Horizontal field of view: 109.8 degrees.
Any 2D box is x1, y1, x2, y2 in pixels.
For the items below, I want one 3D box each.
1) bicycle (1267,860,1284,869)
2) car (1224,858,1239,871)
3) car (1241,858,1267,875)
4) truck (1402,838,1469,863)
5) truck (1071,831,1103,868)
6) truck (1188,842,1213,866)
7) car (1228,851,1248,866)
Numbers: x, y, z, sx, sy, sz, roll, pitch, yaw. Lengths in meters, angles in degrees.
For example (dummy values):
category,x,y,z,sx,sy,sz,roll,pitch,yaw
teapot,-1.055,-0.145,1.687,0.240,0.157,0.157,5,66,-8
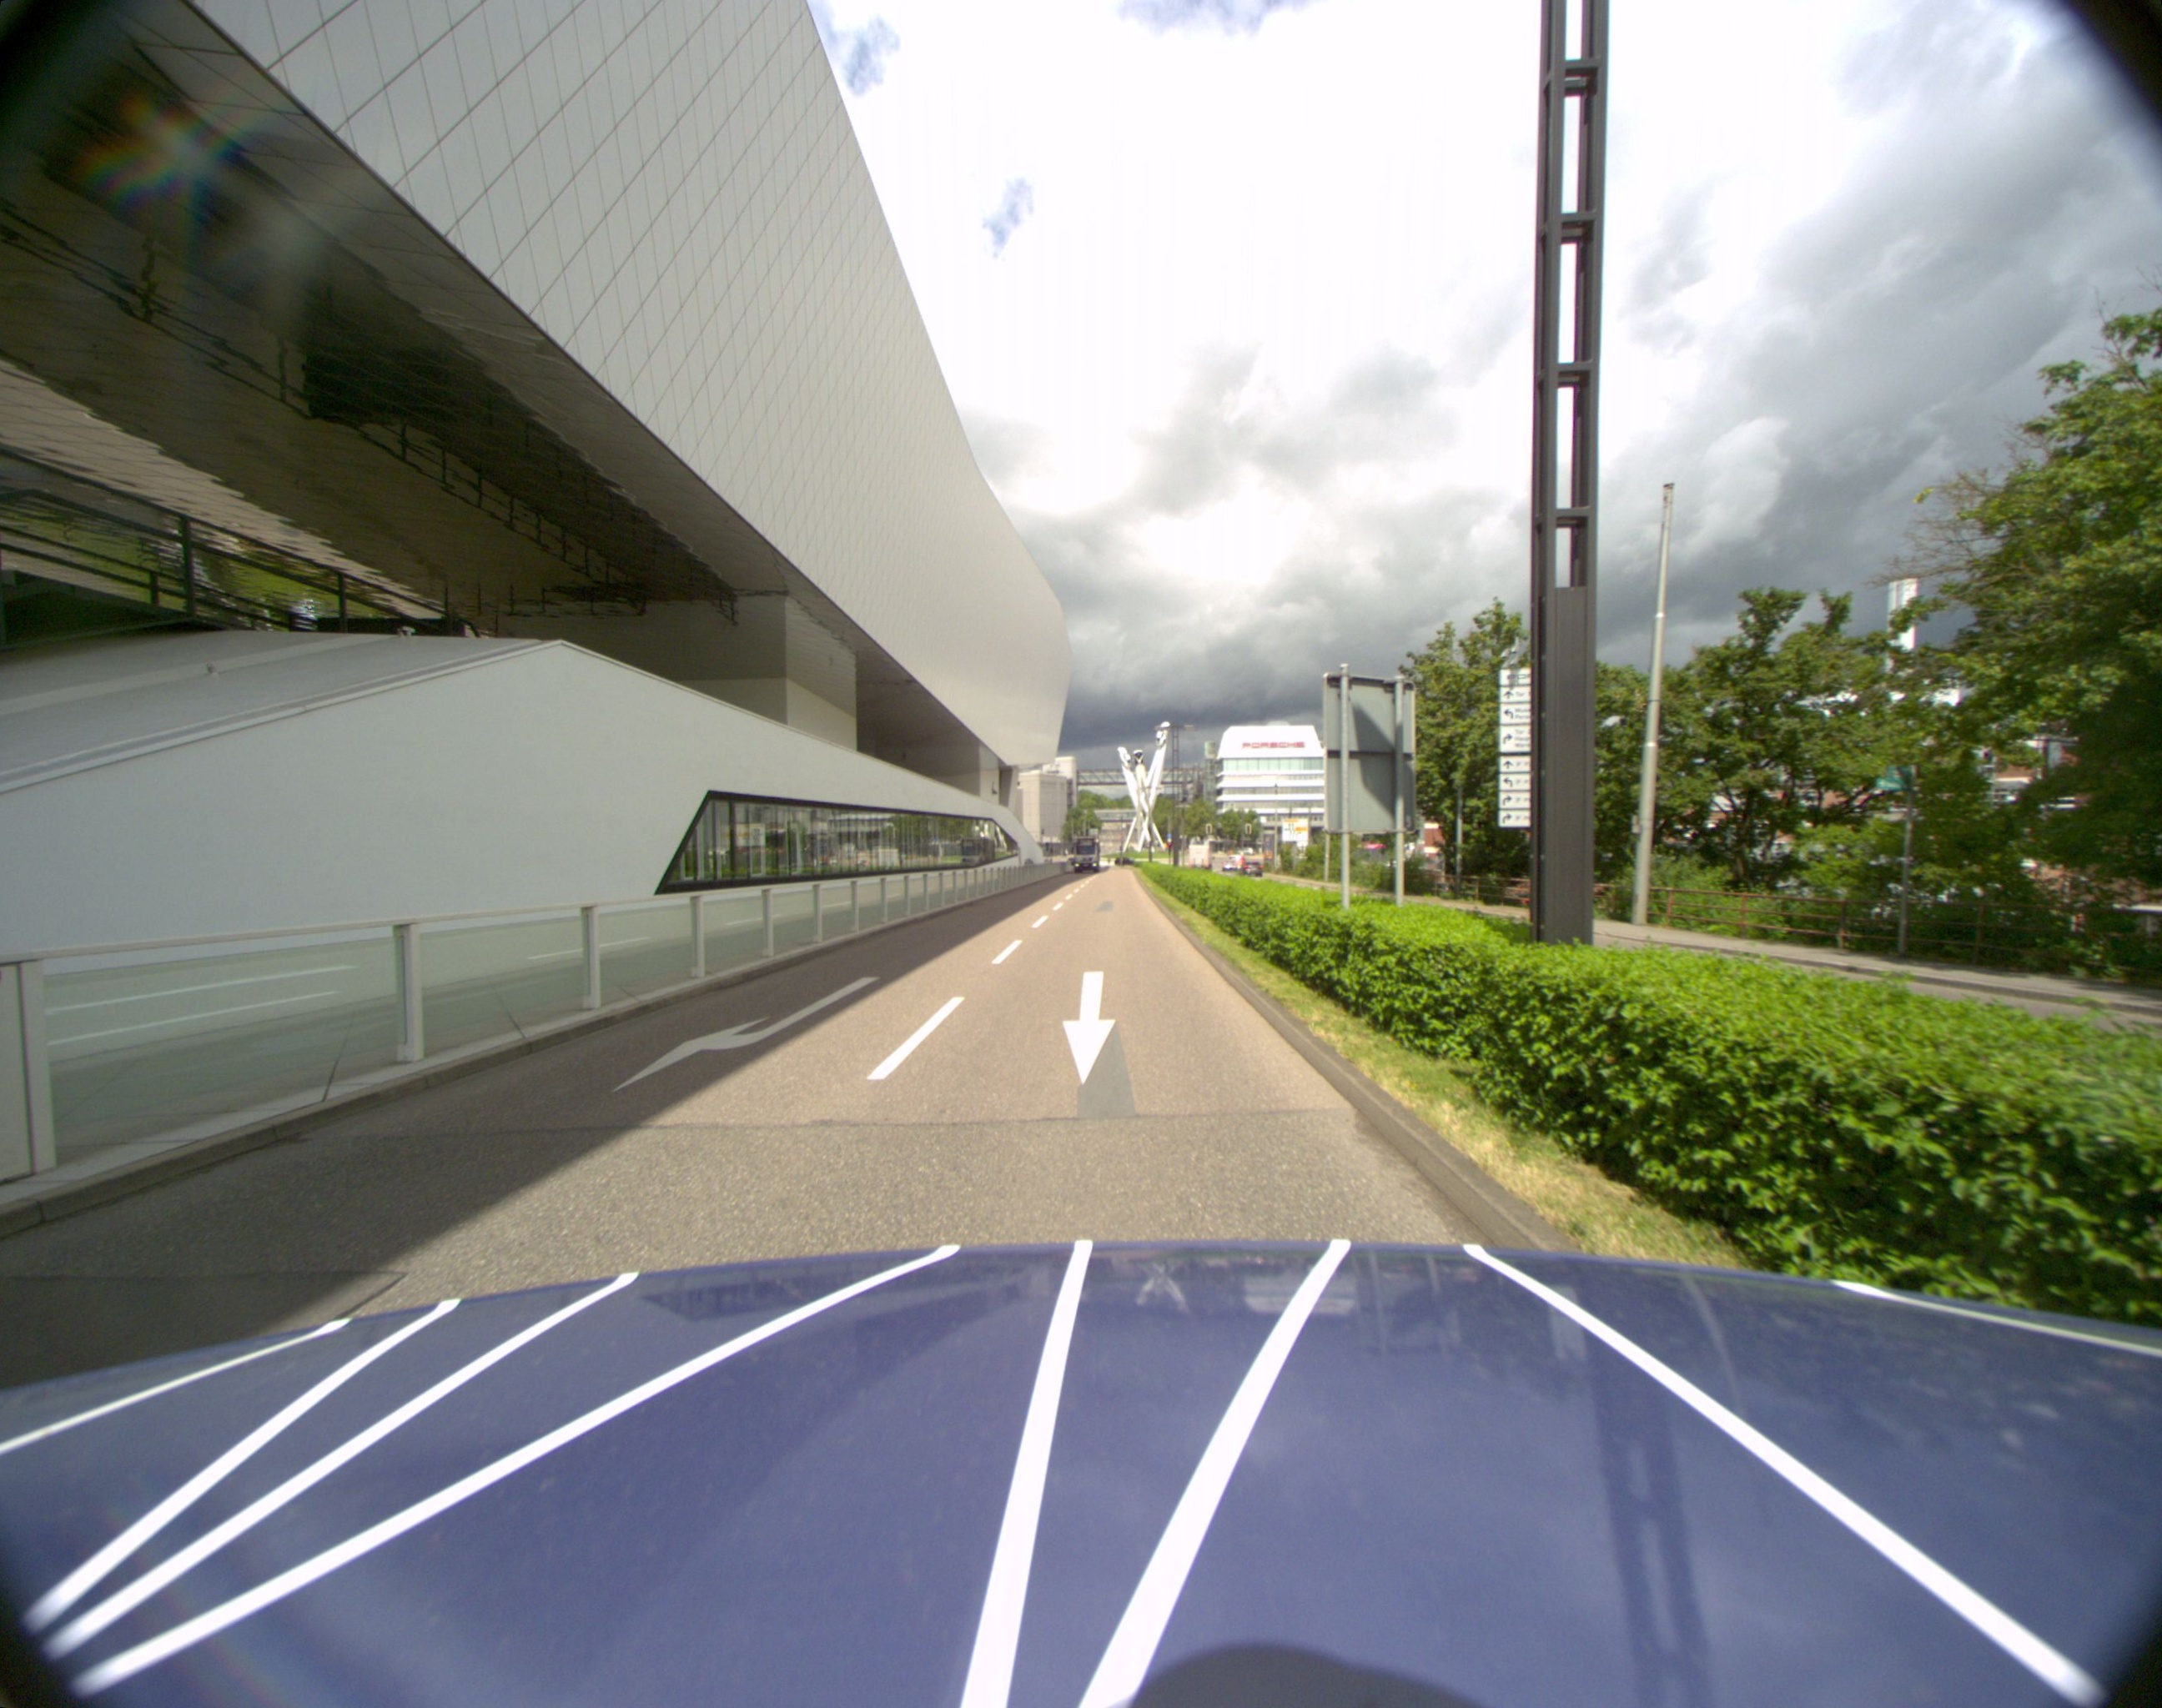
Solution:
category,x,y,z,sx,sy,sz,roll,pitch,yaw
bicycle,24.566,1.347,96.054,2.041,1.161,0.621,0,1,12
car,18.323,1.220,92.325,1.799,1.414,4.496,1,1,12
car,15.977,1.126,70.365,1.843,1.499,4.563,0,0,6
truck,54.061,-0.454,116.232,2.366,3.547,8.964,-2,0,-44
truck,0.710,-0.515,81.274,2.842,3.669,10.755,0,1,3
truck,15.198,0.062,96.916,2.861,2.840,9.384,-1,-2,7
car,20.513,0.567,99.077,1.996,1.946,4.634,-1,1,18
